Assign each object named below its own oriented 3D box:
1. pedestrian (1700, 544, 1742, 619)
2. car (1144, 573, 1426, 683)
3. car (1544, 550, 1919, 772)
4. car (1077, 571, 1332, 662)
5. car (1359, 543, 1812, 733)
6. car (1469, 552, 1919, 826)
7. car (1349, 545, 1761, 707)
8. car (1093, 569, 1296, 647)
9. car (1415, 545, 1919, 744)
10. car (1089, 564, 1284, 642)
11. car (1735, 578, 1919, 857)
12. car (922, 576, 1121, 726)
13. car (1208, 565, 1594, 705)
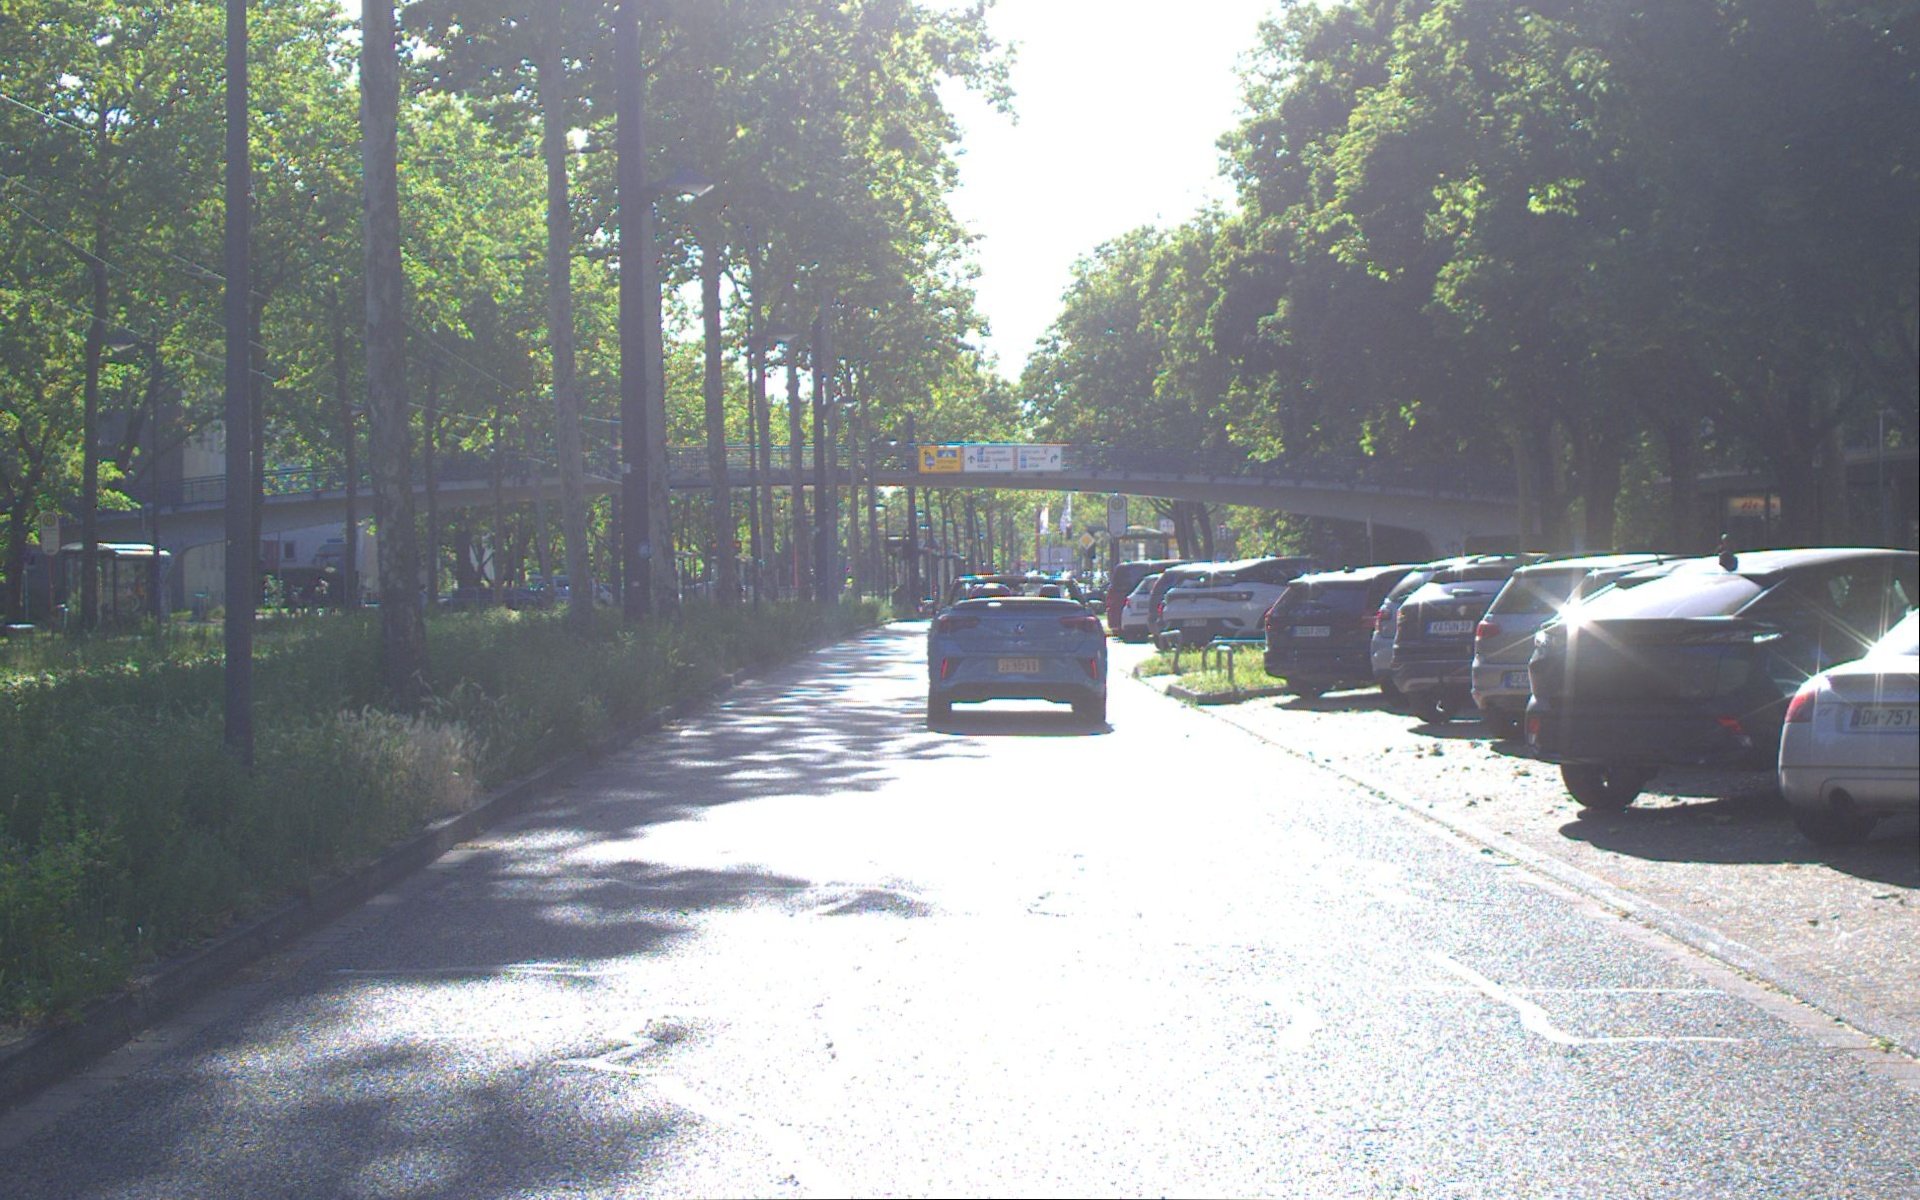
[{"bbox_3d":[20.324,-0.494,91.804,0.819,2.007,0.750,-1,1,-40],"label":"pedestrian"},{"bbox_3d":[5.209,0.421,54.791,4.611,1.674,1.856,0,0,-43],"label":"car"},{"bbox_3d":[6.434,0.391,25.052,4.449,1.445,1.919,-2,0,-42],"label":"car"},{"bbox_3d":[4.393,0.278,61.229,4.612,1.516,1.856,-1,1,-43],"label":"car"},{"bbox_3d":[5.924,0.316,32.209,1.855,1.564,4.612,-1,1,45],"label":"car"},{"bbox_3d":[5.180,0.458,20.814,4.318,1.420,1.855,-3,1,-44],"label":"car"},{"bbox_3d":[6.290,0.233,36.024,4.612,1.564,1.856,-1,1,-44],"label":"car"},{"bbox_3d":[5.259,0.170,76.731,4.611,1.674,1.856,0,0,-43],"label":"car"},{"bbox_3d":[5.923,0.339,28.386,4.450,1.445,1.919,-2,0,-45],"label":"car"},{"bbox_3d":[5.281,0.060,79.866,4.611,1.762,1.856,0,0,-43],"label":"car"},{"bbox_3d":[6.000,0.506,17.927,4.318,1.293,1.691,-3,1,-44],"label":"car"},{"bbox_3d":[0.615,0.480,35.334,1.922,1.406,4.000,0,1,1],"label":"car"},{"bbox_3d":[5.070,0.362,39.051,1.978,1.454,4.613,-1,1,44],"label":"car"}]
